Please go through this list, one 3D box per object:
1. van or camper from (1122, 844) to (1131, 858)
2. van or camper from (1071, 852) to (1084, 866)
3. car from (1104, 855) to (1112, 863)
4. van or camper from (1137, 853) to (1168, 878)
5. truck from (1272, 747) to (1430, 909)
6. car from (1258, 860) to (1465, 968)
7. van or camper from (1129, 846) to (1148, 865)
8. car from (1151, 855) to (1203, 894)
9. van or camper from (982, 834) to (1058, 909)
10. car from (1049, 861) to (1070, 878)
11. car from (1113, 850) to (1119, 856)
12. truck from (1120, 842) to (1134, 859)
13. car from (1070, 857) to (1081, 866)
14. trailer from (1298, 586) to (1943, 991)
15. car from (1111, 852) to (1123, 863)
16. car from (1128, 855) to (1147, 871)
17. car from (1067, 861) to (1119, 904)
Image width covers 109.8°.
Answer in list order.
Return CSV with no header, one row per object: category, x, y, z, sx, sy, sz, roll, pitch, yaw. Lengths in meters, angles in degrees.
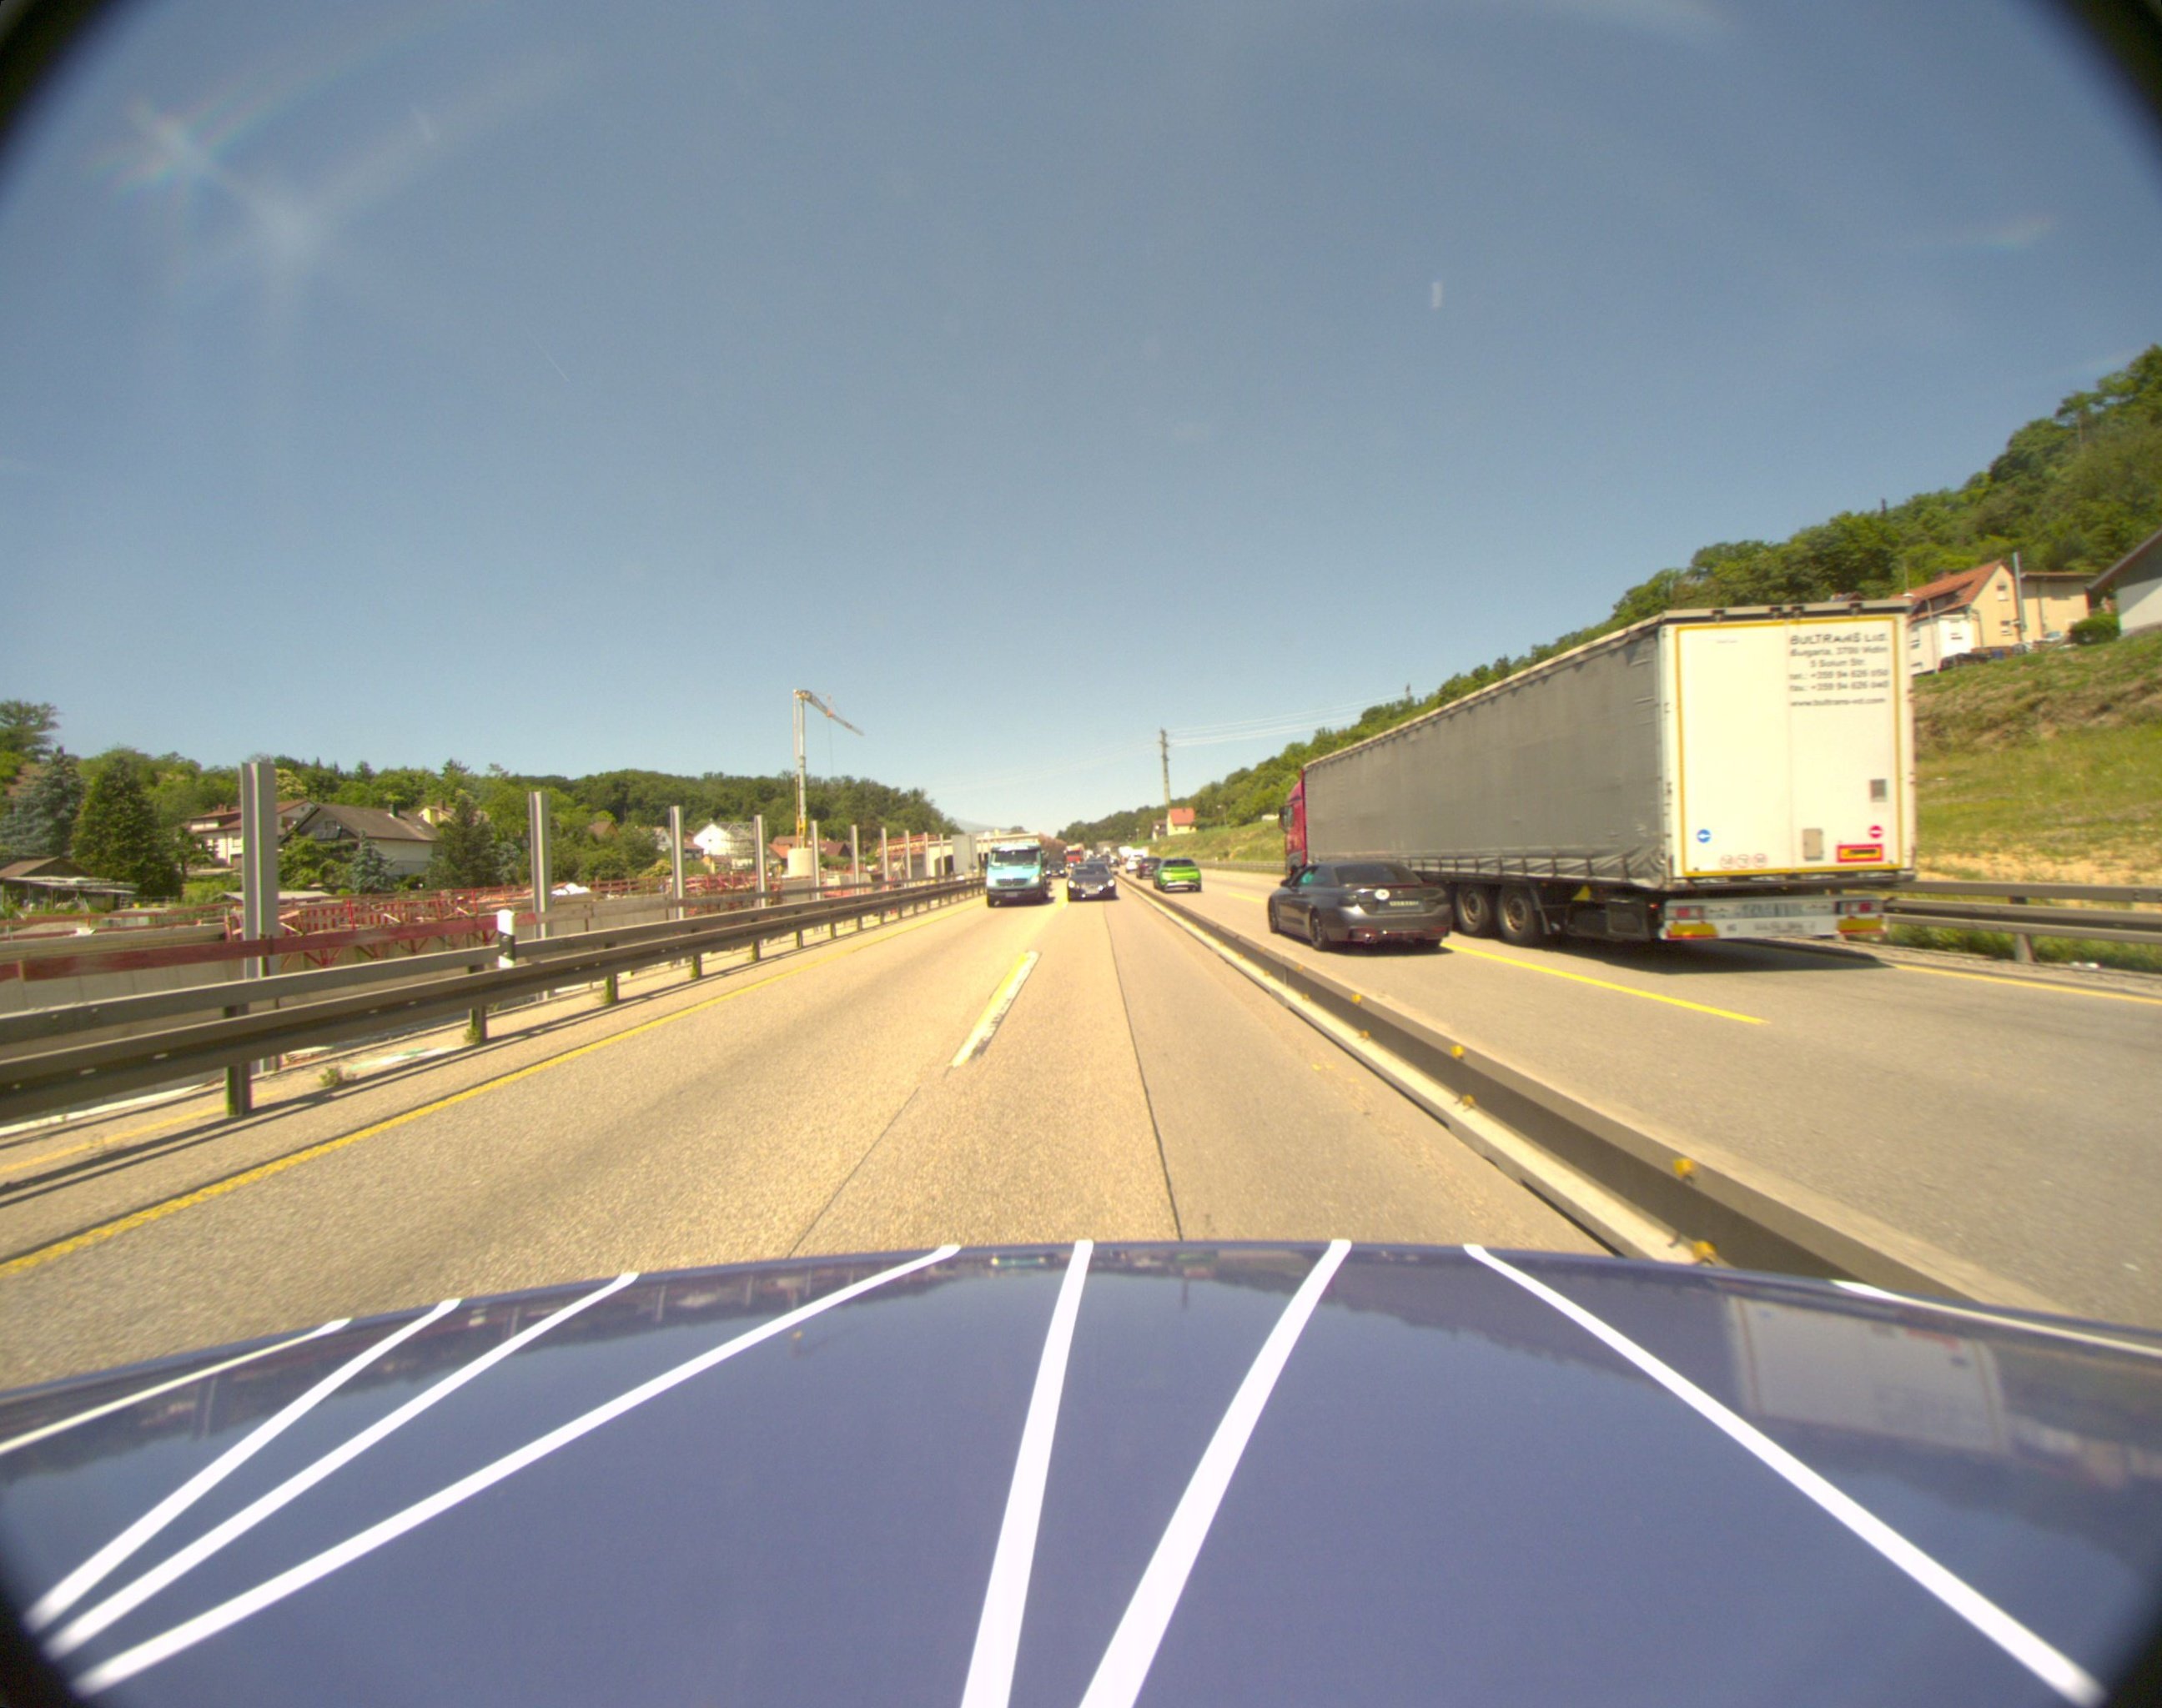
van or camper,9.703,-0.590,162.322,1.566,2.744,5.182,-4,0,1
van or camper,-0.615,0.925,145.130,2.321,2.513,4.528,-4,0,1
car,5.750,1.024,163.557,1.601,1.499,3.162,-4,0,1
van or camper,5.136,0.811,54.953,1.832,1.658,3.888,-2,0,1
truck,7.610,-0.680,22.072,2.828,4.100,4.598,-2,0,1
car,4.324,0.841,12.525,1.772,1.355,4.411,-2,0,1
van or camper,8.829,0.228,117.095,2.382,2.634,6.052,-2,0,1
car,4.151,0.840,33.378,1.758,1.499,4.000,-4,0,1
van or camper,-2.195,0.595,29.625,2.097,2.458,7.671,-2,0,1
car,-1.829,1.321,66.296,1.611,1.324,3.496,-4,0,1
car,10.832,-0.322,234.877,1.780,1.652,3.576,-2,0,0
truck,9.187,-0.712,152.190,2.385,3.412,9.306,0,0,1
car,-0.928,1.235,128.843,1.679,1.346,3.486,-4,0,1
trailer,7.530,-0.667,14.618,2.864,4.100,13.437,-2,0,1
car,5.557,0.534,118.322,1.660,1.420,3.176,-6,0,1
car,5.637,0.889,75.684,1.677,1.468,4.541,-2,0,2
car,0.447,1.003,28.304,1.746,1.420,4.000,-2,0,1
